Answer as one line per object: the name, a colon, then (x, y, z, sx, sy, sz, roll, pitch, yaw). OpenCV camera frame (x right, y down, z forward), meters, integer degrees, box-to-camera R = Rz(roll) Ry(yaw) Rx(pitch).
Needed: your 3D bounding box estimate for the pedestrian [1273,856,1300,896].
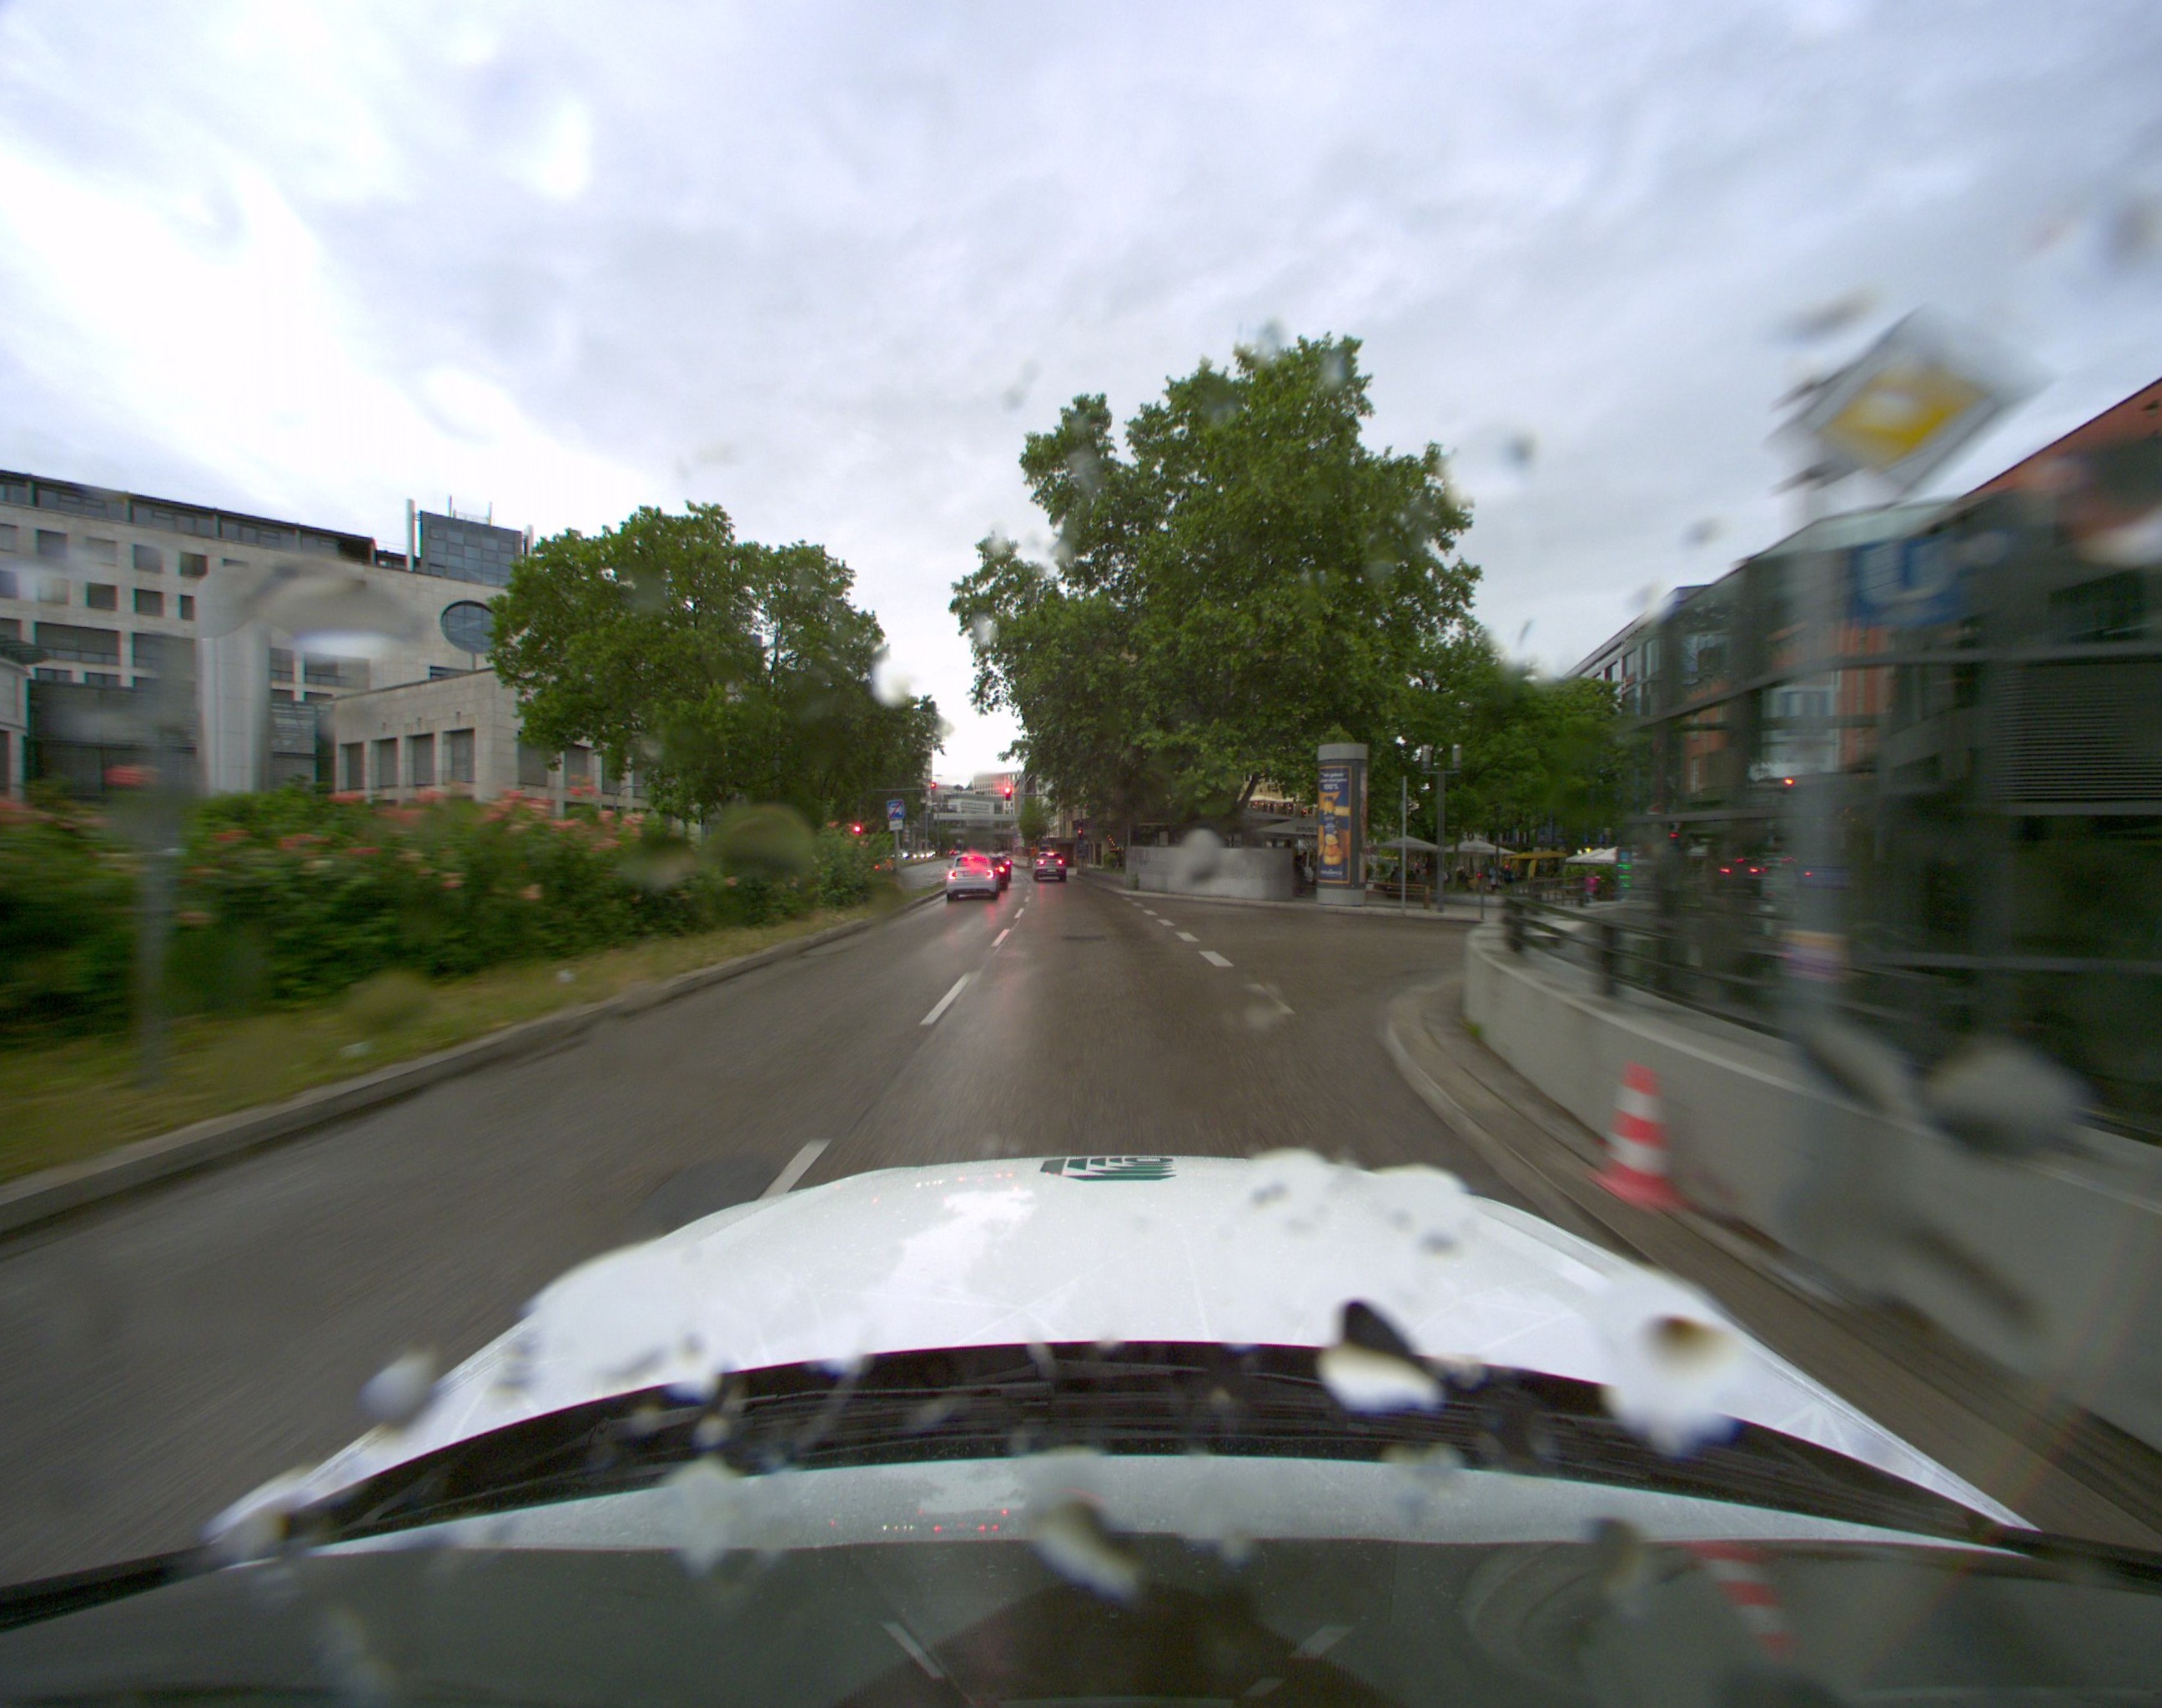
pedestrian: (7.493, 0.800, 29.705, 0.682, 1.410, 0.905, 3, -1, 0)

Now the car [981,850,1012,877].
car: (-4.970, 0.531, 47.749, 1.689, 1.463, 4.335, -2, 0, -7)

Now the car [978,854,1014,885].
car: (-4.394, 0.761, 42.487, 1.688, 1.463, 4.339, -2, 0, -4)

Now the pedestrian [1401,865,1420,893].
pedestrian: (15.410, 1.152, 38.107, 0.626, 1.250, 0.609, 3, -1, 0)

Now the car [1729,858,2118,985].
car: (13.640, 1.018, 13.511, 4.067, 1.621, 1.870, 4, 0, 14)

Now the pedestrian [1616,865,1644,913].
pedestrian: (21.137, 1.335, 31.351, 0.587, 1.780, 0.748, 2, 0, 6)

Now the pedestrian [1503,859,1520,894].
pedestrian: (23.667, 1.235, 44.760, 0.623, 1.832, 0.612, 3, -1, 16)

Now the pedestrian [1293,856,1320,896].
pedestrian: (8.212, 0.802, 29.740, 0.682, 1.410, 0.905, 3, -1, 0)

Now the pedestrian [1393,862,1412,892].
pedestrian: (15.730, 1.125, 39.853, 0.608, 1.412, 0.628, 3, -1, -12)

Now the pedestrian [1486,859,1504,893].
pedestrian: (22.886, 1.232, 45.005, 0.740, 1.832, 0.612, 3, -1, 16)

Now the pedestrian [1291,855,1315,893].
pedestrian: (8.497, 0.767, 31.141, 0.682, 1.410, 0.660, 3, -1, 0)

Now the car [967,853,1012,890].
car: (-3.880, 0.711, 35.120, 1.688, 1.463, 4.124, -2, 0, -4)

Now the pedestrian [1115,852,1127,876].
pedestrian: (2.898, 0.723, 59.438, 0.856, 1.780, 0.717, 0, -1, -1)

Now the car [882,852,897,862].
car: (-30.540, 0.397, 130.267, 1.792, 1.510, 4.489, -2, 0, -7)

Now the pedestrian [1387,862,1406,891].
pedestrian: (15.811, 1.131, 40.770, 0.608, 1.412, 0.628, 3, -1, -12)

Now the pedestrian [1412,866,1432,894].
pedestrian: (15.578, 1.173, 37.237, 0.626, 1.250, 0.609, 3, -1, 0)

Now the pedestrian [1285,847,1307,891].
pedestrian: (8.528, 0.585, 32.306, 0.716, 1.701, 0.622, 0, -1, 27)

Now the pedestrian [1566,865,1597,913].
pedestrian: (19.265, 1.332, 31.371, 0.688, 1.780, 0.875, 2, 0, 6)

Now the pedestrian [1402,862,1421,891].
pedestrian: (16.592, 1.134, 40.885, 0.608, 1.412, 0.628, 3, -1, -12)

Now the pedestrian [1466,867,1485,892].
pedestrian: (19.757, 1.277, 40.814, 0.626, 1.250, 0.609, 3, -1, 0)

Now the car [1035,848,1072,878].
car: (-1.632, 0.499, 47.283, 1.943, 1.666, 4.339, 1, 0, -4)

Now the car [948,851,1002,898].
car: (-3.621, 0.657, 28.203, 1.587, 1.491, 3.500, -2, 0, -4)

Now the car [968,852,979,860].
car: (-19.132, 0.325, 145.014, 1.976, 1.463, 4.335, -2, 0, -7)

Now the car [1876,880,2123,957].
car: (21.261, 1.434, 19.020, 1.616, 1.416, 3.500, 2, 1, -25)

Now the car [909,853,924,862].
car: (-28.083, 0.540, 139.103, 2.157, 1.463, 4.335, -2, 0, -7)

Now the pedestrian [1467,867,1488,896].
pedestrian: (18.042, 1.248, 37.029, 0.626, 1.250, 0.609, 3, -1, 0)

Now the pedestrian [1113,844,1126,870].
pedestrian: (2.682, 0.194, 57.016, 0.856, 1.780, 0.717, 0, -1, -1)

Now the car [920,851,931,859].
car: (-30.039, 0.244, 157.104, 1.792, 1.510, 4.489, -2, 0, -7)

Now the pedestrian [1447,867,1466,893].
pedestrian: (18.647, 1.273, 40.469, 0.626, 1.250, 0.609, 3, -1, 0)
